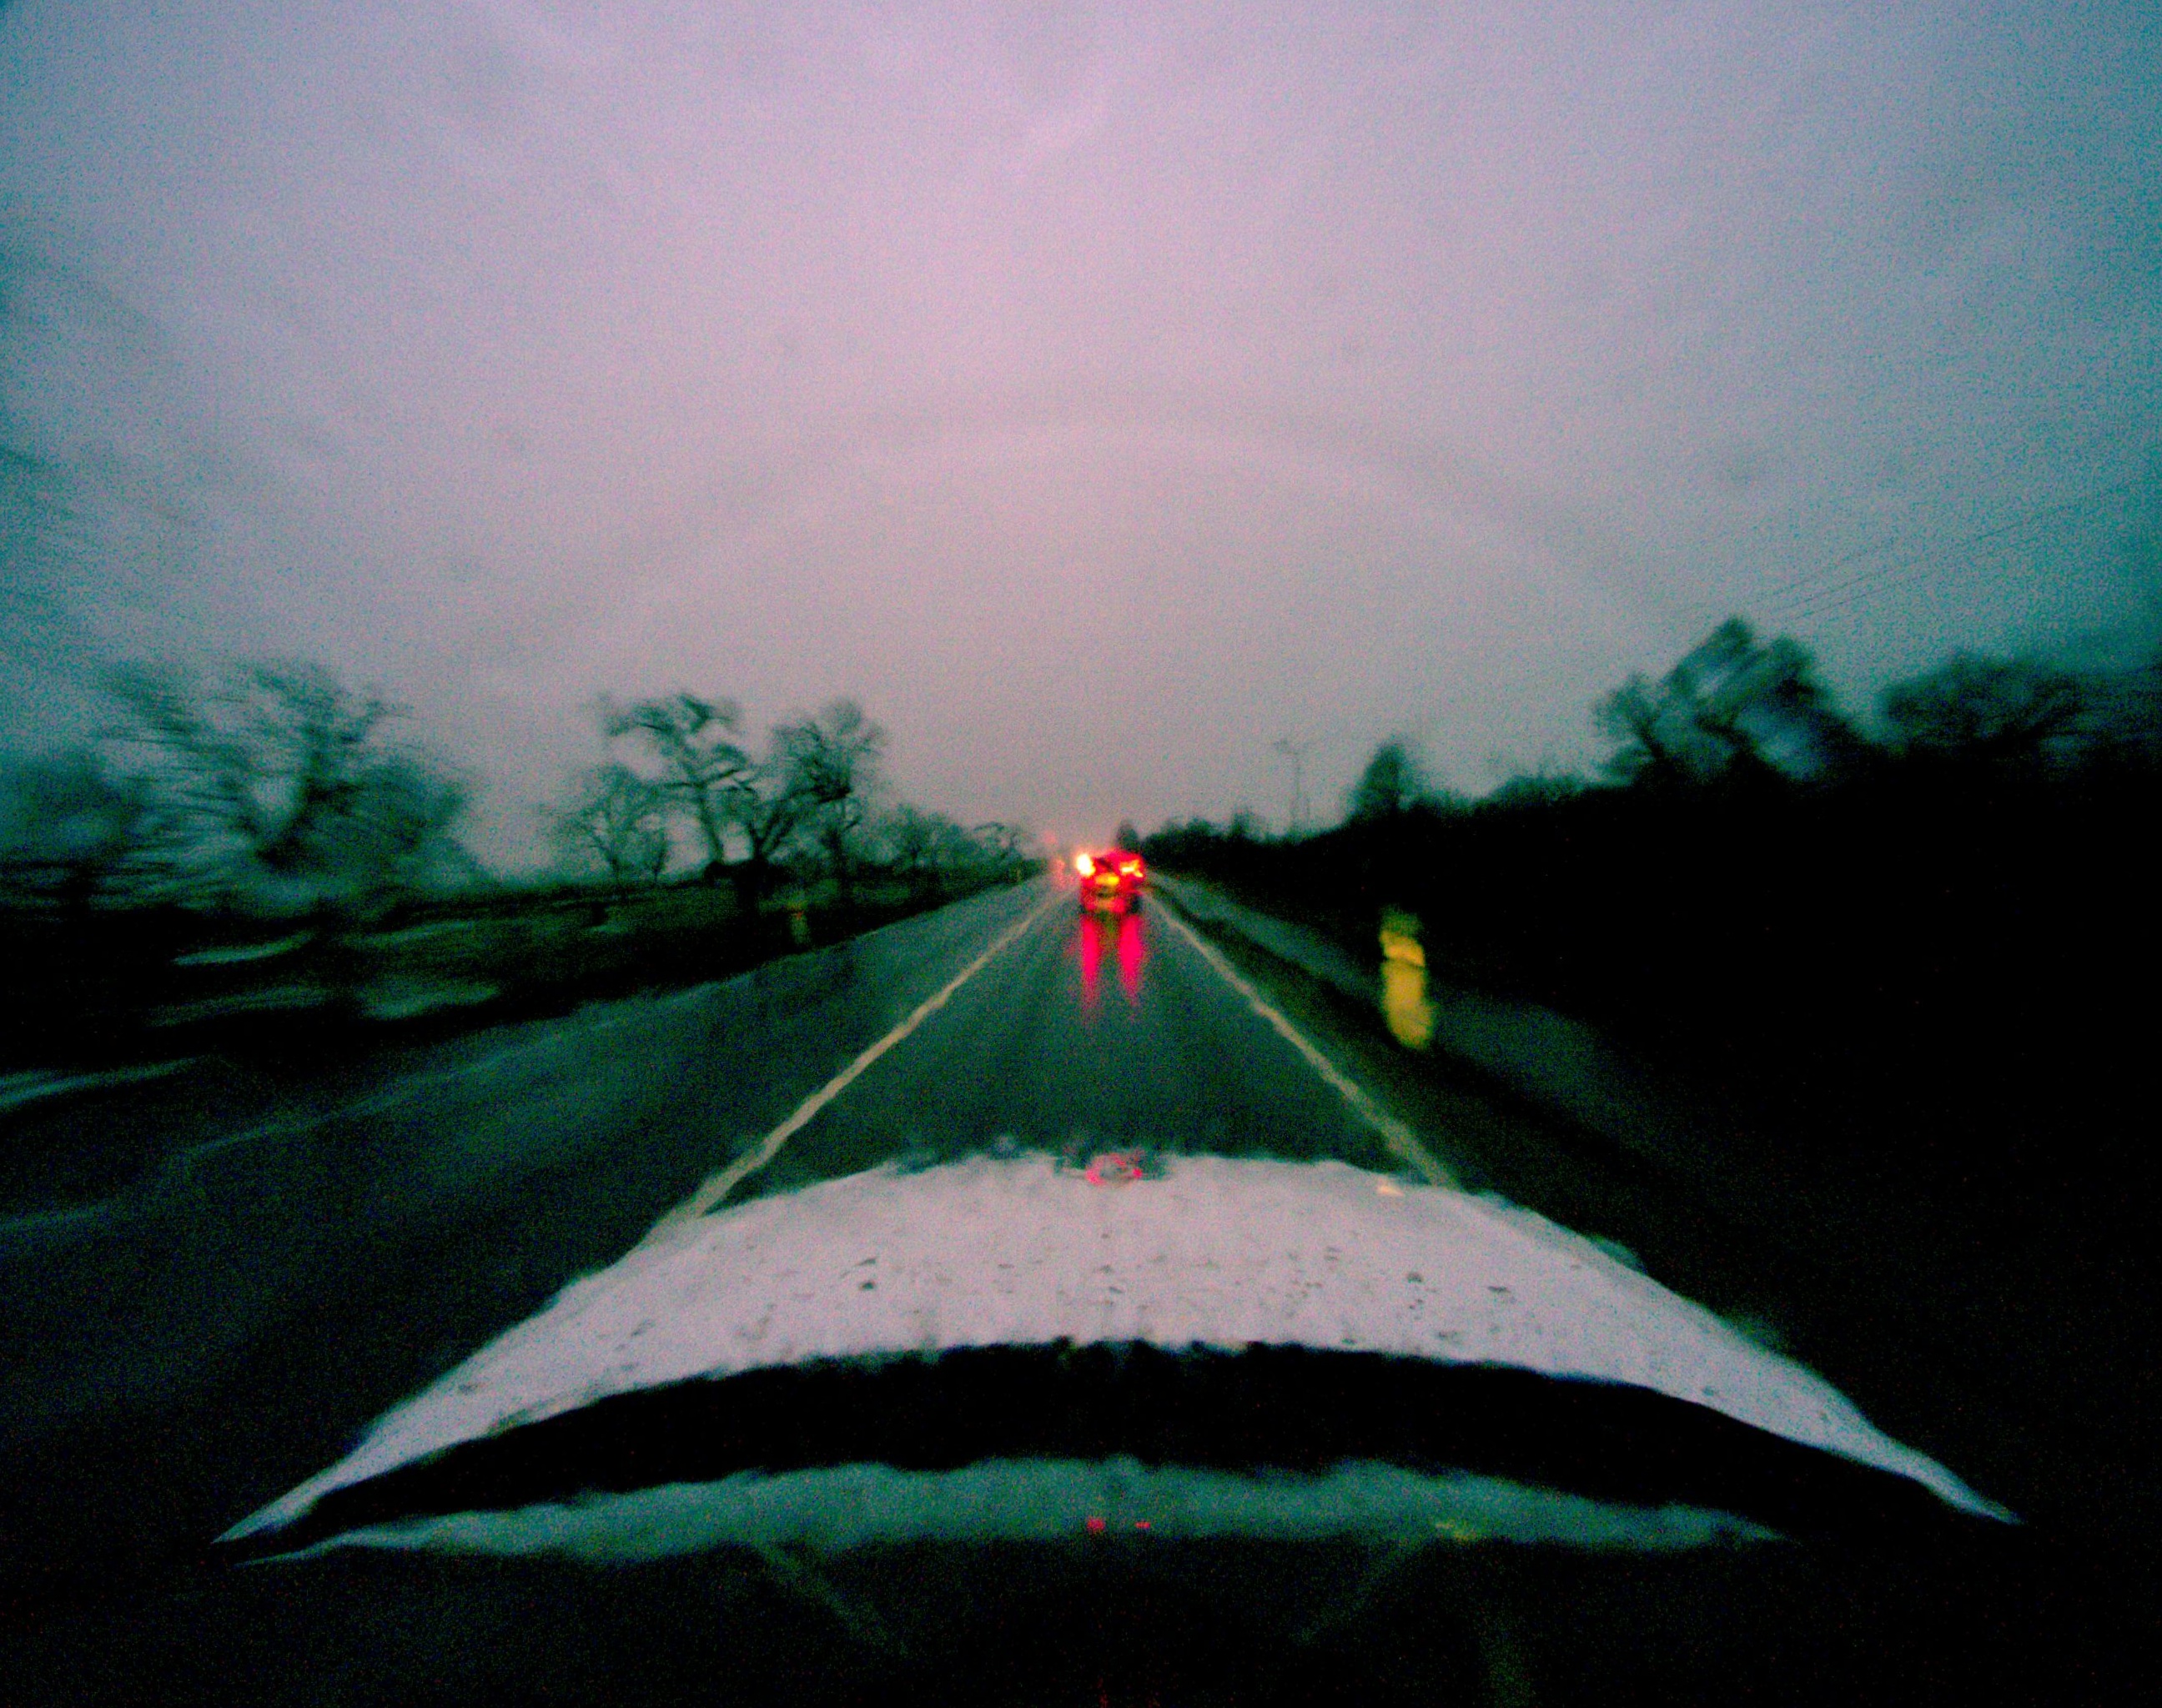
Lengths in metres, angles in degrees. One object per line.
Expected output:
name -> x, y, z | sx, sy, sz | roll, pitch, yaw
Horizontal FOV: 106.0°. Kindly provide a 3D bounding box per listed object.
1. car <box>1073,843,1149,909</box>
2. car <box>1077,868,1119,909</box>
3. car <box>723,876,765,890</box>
car -> 0.912, 0.626, 25.362 | 2.112, 1.820, 4.982 | -1, 0, 2
car -> 0.887, 1.677, 40.652 | 1.986, 1.849, 4.001 | 0, 0, 2
car -> -32.621, 2.802, 78.912 | 3.444, 1.342, 1.592 | 0, -1, -13
